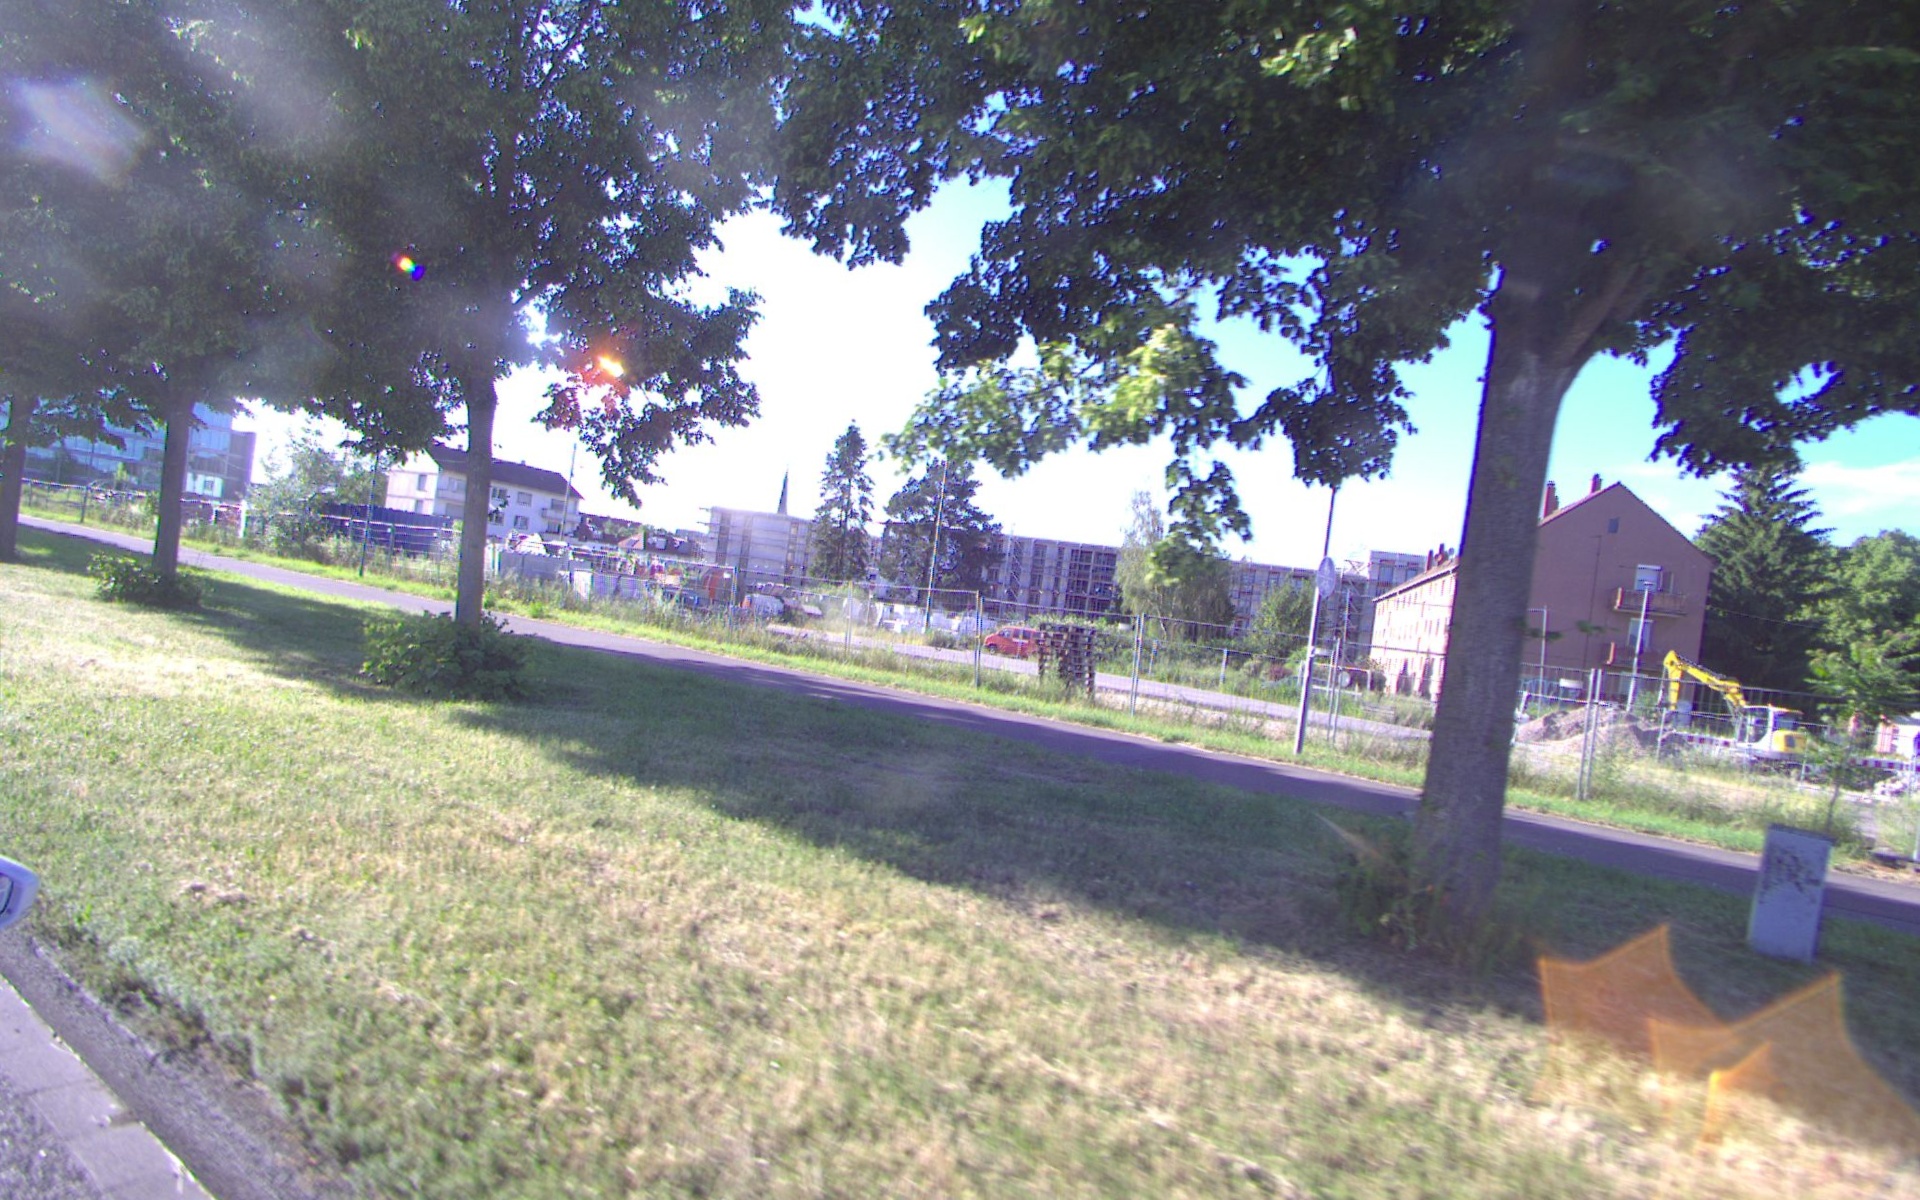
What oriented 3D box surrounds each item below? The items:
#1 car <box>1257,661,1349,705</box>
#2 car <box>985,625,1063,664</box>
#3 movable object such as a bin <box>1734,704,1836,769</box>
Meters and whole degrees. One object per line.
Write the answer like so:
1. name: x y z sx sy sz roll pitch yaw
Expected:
1. car: 17.330 4.188 50.809 3.847 1.575 1.995 7 -1 35
2. car: 3.813 2.653 60.217 3.937 1.748 2.173 7 -1 35
3. movable object such as a bin: 31.092 5.131 37.965 1.965 2.037 2.068 7 -2 -6
